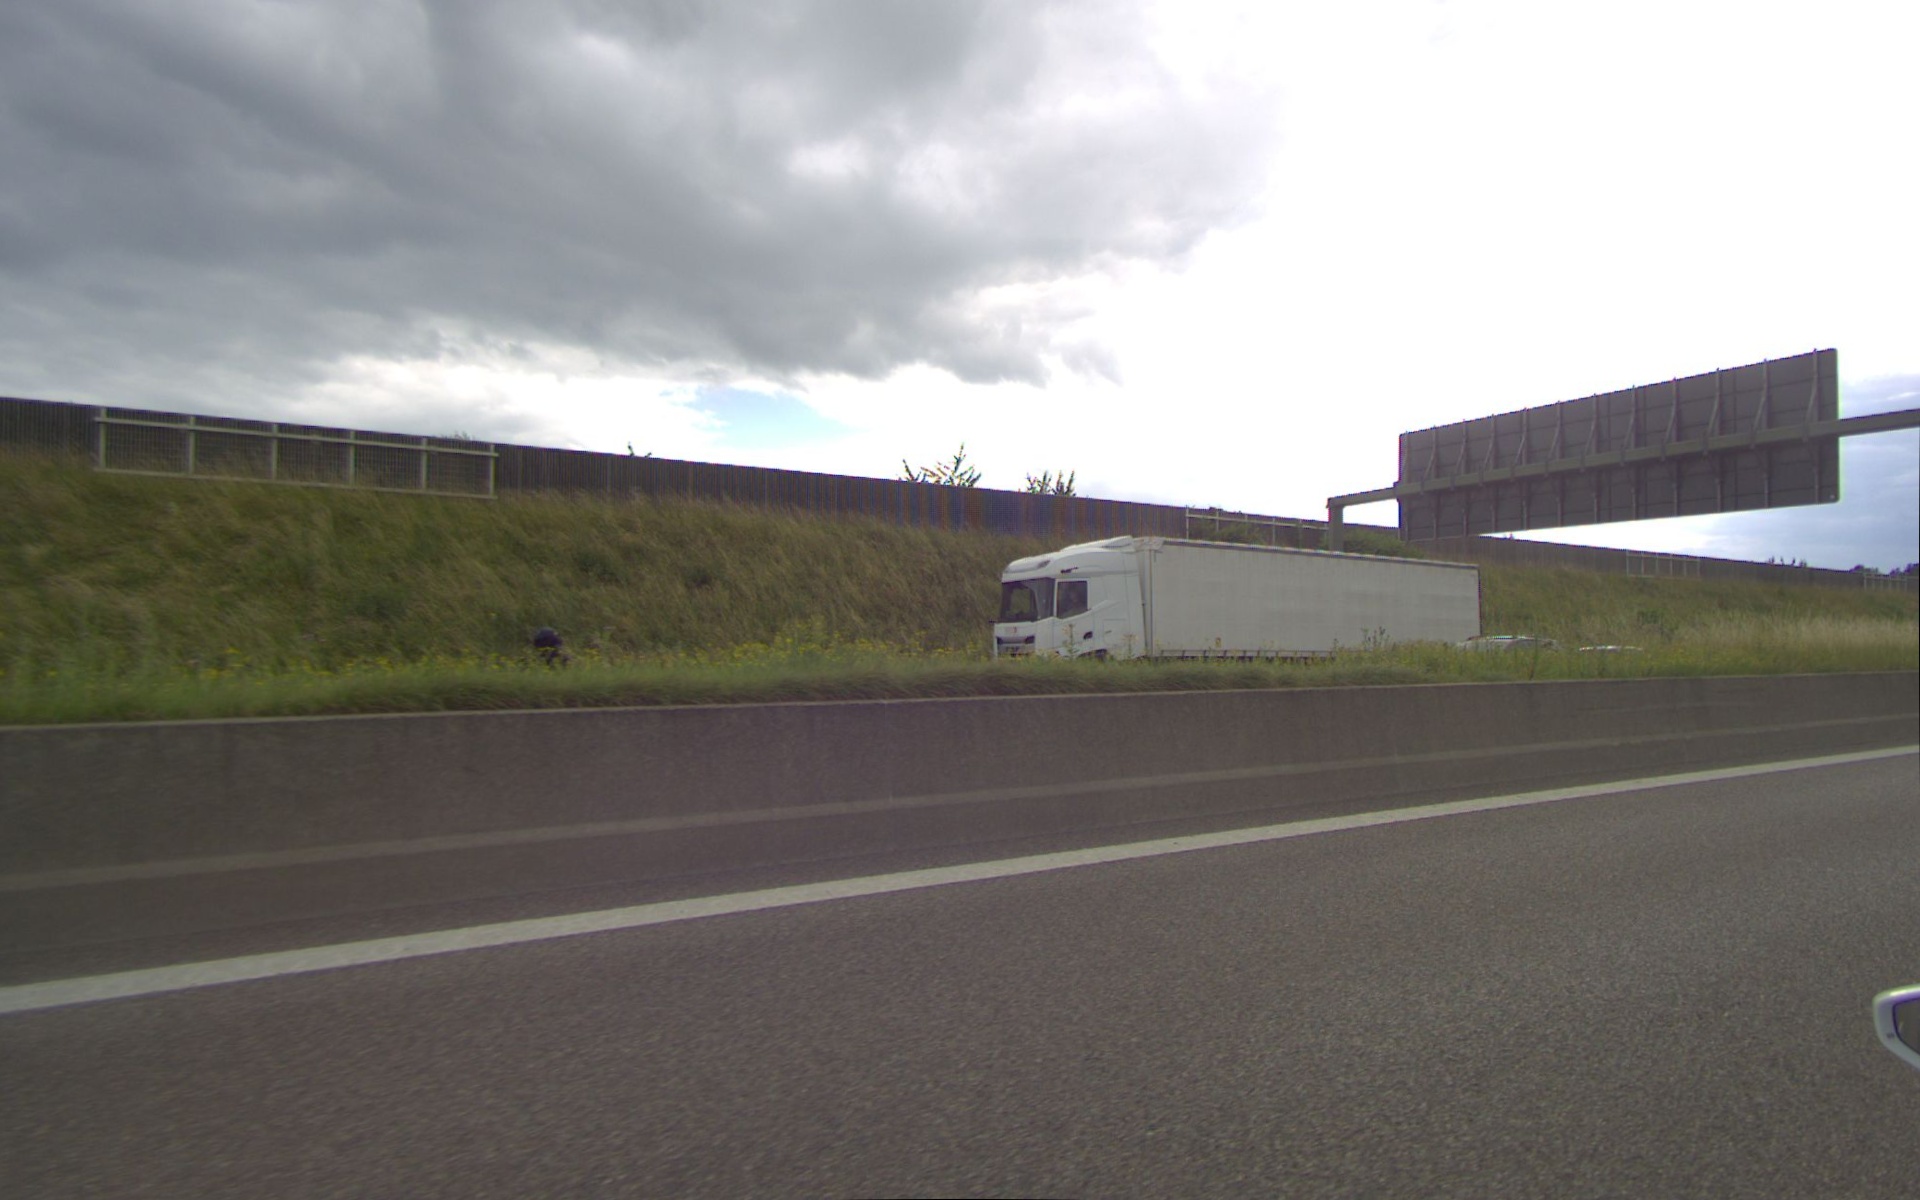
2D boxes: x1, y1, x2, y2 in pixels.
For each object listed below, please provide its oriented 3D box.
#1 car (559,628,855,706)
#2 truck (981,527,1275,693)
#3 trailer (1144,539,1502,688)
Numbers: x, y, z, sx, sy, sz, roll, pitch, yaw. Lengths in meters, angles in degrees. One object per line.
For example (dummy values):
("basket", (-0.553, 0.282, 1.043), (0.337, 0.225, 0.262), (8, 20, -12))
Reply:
("car", (-4.026, 1.022, 16.138), (4.282, 1.046, 1.855), (1, 0, -31))
("truck", (4.374, 0.338, 25.621), (7.401, 3.726, 2.714), (1, -2, -30))
("trailer", (10.963, 0.500, 29.473), (12.119, 3.726, 2.764), (1, -2, -30))
